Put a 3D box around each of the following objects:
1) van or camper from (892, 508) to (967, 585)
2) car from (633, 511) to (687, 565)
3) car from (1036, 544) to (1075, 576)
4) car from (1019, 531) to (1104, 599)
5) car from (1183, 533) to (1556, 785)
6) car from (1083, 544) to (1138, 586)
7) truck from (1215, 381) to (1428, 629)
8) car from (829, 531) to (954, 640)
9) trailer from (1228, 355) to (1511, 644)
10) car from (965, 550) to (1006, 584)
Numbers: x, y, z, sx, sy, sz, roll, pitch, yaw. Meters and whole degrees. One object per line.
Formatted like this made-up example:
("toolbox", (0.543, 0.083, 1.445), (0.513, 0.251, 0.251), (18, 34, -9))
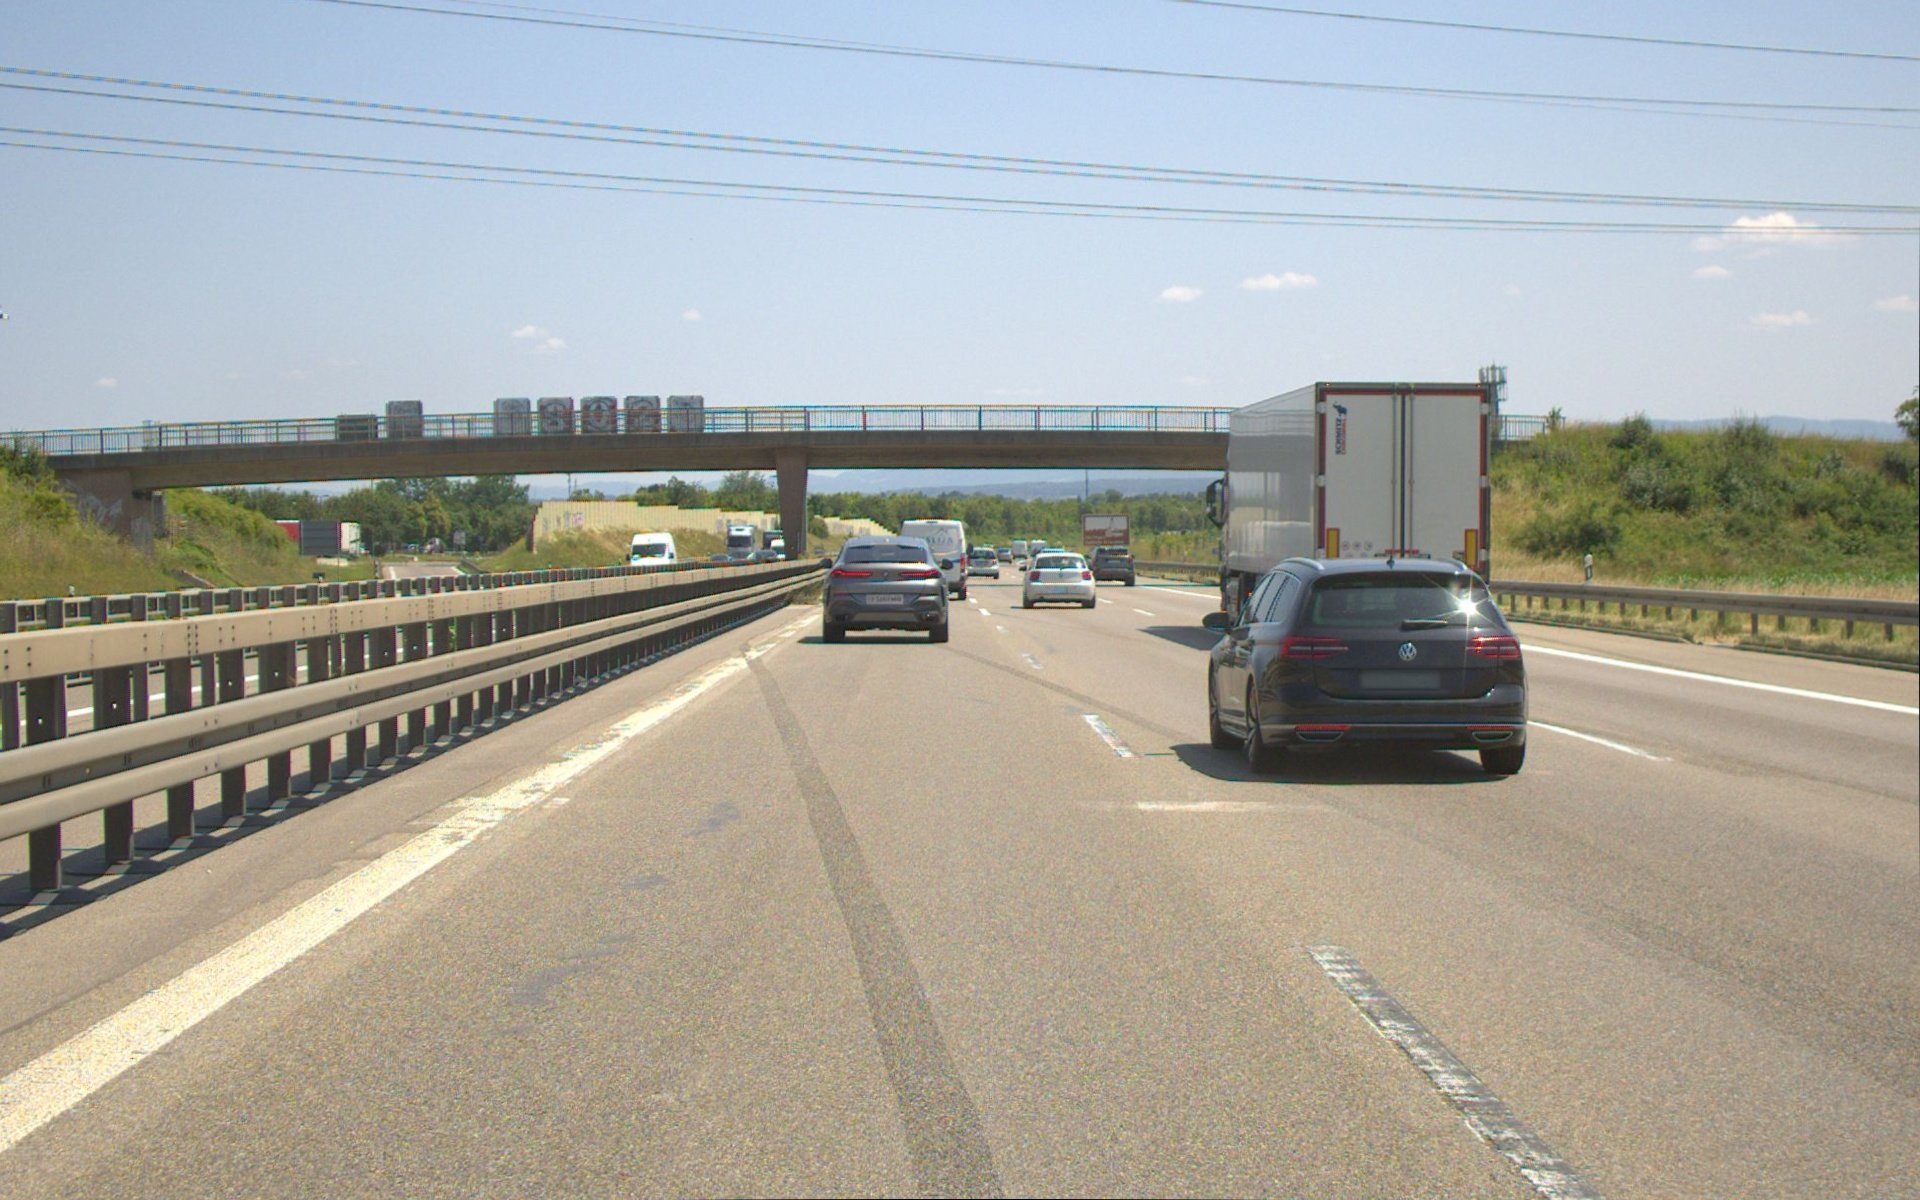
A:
("van or camper", (-0.896, -1.582, 101.368), (2.110, 2.204, 5.266), (1, 1, 0))
("car", (-14.812, -3.043, 169.980), (2.032, 2.596, 7.601), (1, 1, -1))
("car", (5.210, -2.194, 187.541), (1.993, 1.677, 4.000), (1, 1, 0))
("car", (2.556, -0.911, 87.582), (1.993, 1.677, 4.000), (1, 1, 0))
("car", (2.738, 0.332, 24.111), (1.933, 1.569, 4.935), (1, 1, -1))
("car", (6.084, -1.424, 139.209), (1.993, 1.677, 4.000), (1, 1, 0))
("truck", (6.489, -1.688, 62.783), (2.979, 4.213, 7.688), (1, 1, 0))
("car", (-1.134, -0.255, 55.109), (1.851, 1.658, 3.735), (1, 1, -3))
("trailer", (6.509, -1.569, 57.025), (2.943, 4.184, 13.597), (1, 1, 0))
("car", (1.263, -1.698, 174.140), (1.993, 1.677, 4.000), (1, 1, 0))
